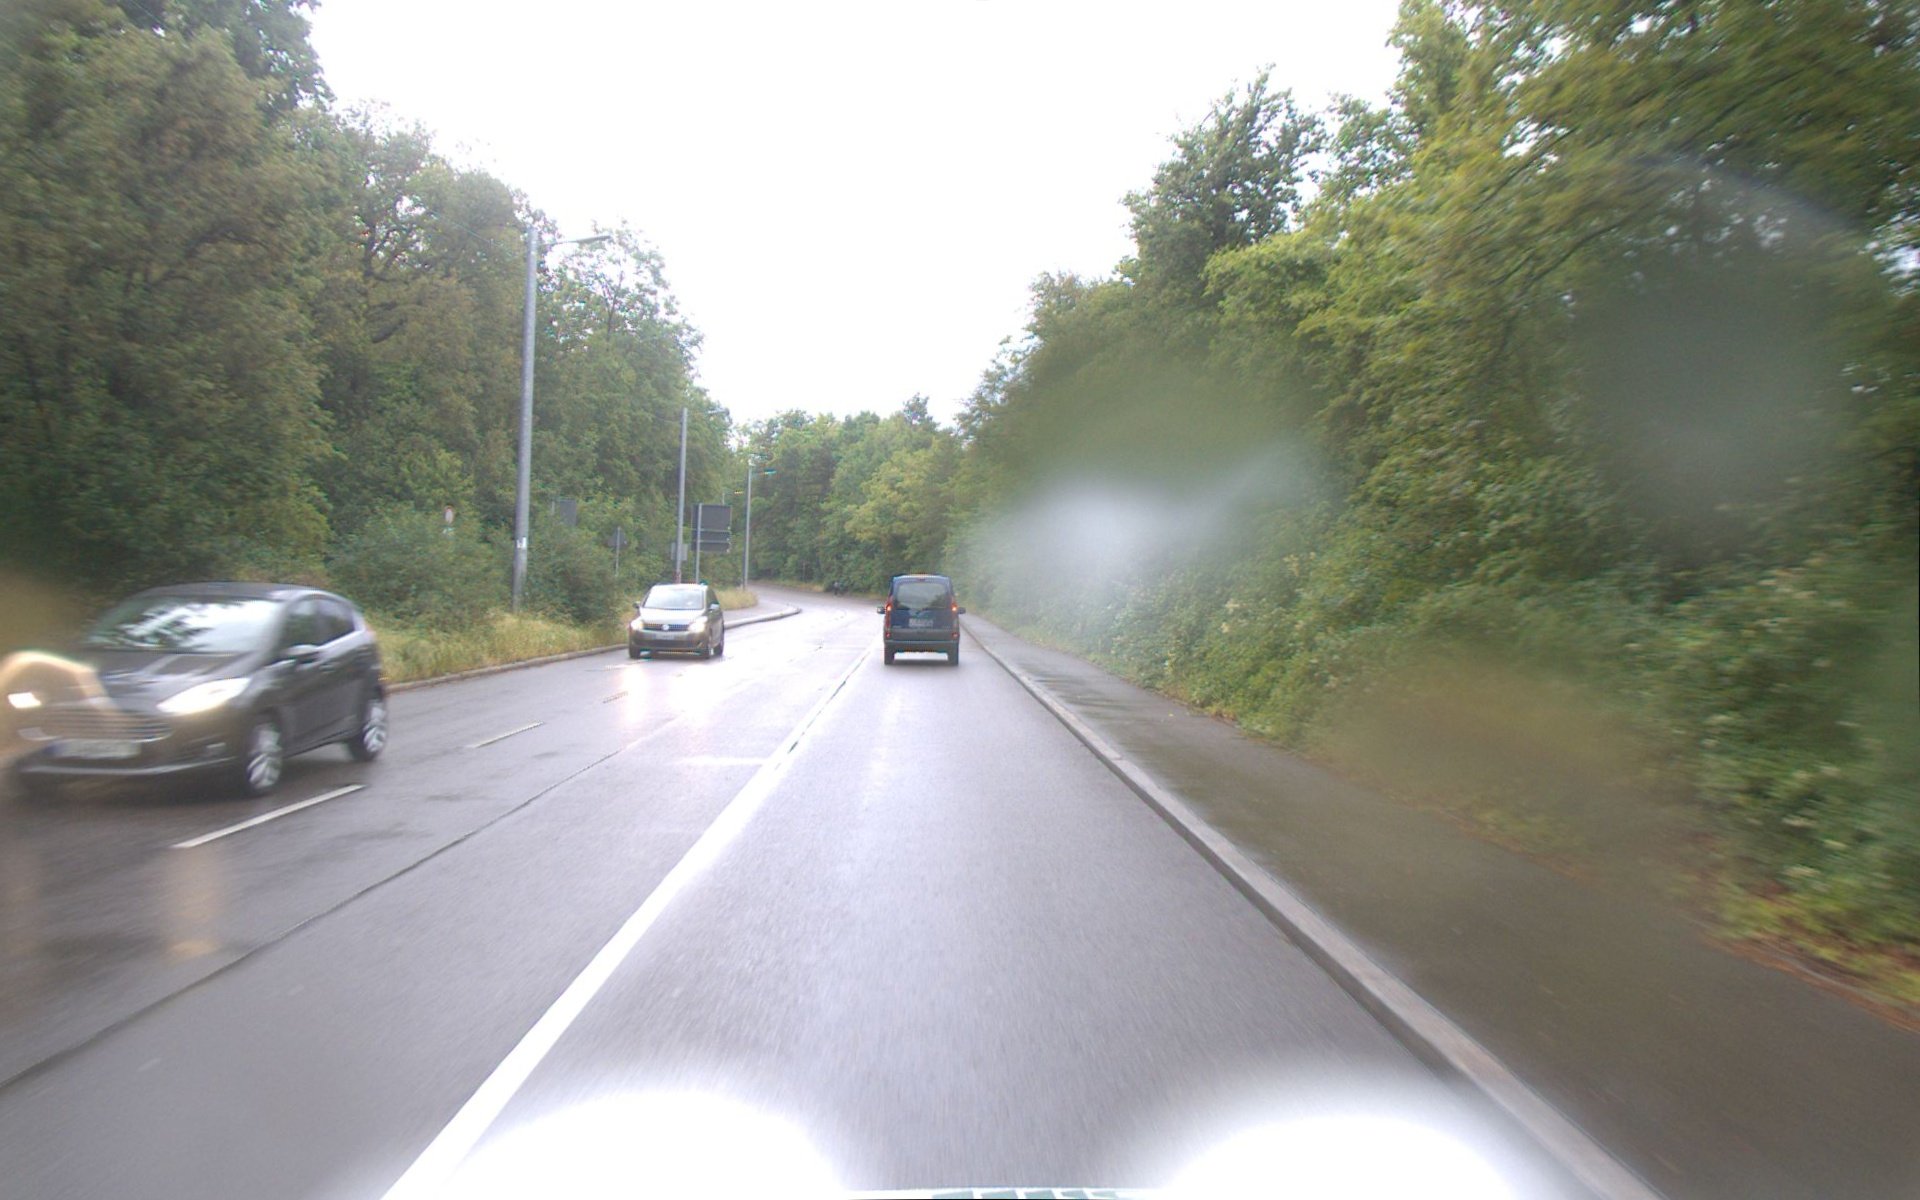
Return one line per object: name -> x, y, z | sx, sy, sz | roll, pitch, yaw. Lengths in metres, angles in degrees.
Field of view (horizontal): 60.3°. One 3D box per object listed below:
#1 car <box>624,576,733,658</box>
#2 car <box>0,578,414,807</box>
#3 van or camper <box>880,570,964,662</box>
car -> -6.135, 0.342, 36.496 | 1.736, 1.638, 4.083 | 2, 0, -1
car -> -5.567, 0.584, 12.654 | 1.566, 1.466, 3.989 | 1, 0, -2
van or camper -> -0.854, 0.341, 36.001 | 1.678, 1.858, 3.998 | 2, 0, -2
